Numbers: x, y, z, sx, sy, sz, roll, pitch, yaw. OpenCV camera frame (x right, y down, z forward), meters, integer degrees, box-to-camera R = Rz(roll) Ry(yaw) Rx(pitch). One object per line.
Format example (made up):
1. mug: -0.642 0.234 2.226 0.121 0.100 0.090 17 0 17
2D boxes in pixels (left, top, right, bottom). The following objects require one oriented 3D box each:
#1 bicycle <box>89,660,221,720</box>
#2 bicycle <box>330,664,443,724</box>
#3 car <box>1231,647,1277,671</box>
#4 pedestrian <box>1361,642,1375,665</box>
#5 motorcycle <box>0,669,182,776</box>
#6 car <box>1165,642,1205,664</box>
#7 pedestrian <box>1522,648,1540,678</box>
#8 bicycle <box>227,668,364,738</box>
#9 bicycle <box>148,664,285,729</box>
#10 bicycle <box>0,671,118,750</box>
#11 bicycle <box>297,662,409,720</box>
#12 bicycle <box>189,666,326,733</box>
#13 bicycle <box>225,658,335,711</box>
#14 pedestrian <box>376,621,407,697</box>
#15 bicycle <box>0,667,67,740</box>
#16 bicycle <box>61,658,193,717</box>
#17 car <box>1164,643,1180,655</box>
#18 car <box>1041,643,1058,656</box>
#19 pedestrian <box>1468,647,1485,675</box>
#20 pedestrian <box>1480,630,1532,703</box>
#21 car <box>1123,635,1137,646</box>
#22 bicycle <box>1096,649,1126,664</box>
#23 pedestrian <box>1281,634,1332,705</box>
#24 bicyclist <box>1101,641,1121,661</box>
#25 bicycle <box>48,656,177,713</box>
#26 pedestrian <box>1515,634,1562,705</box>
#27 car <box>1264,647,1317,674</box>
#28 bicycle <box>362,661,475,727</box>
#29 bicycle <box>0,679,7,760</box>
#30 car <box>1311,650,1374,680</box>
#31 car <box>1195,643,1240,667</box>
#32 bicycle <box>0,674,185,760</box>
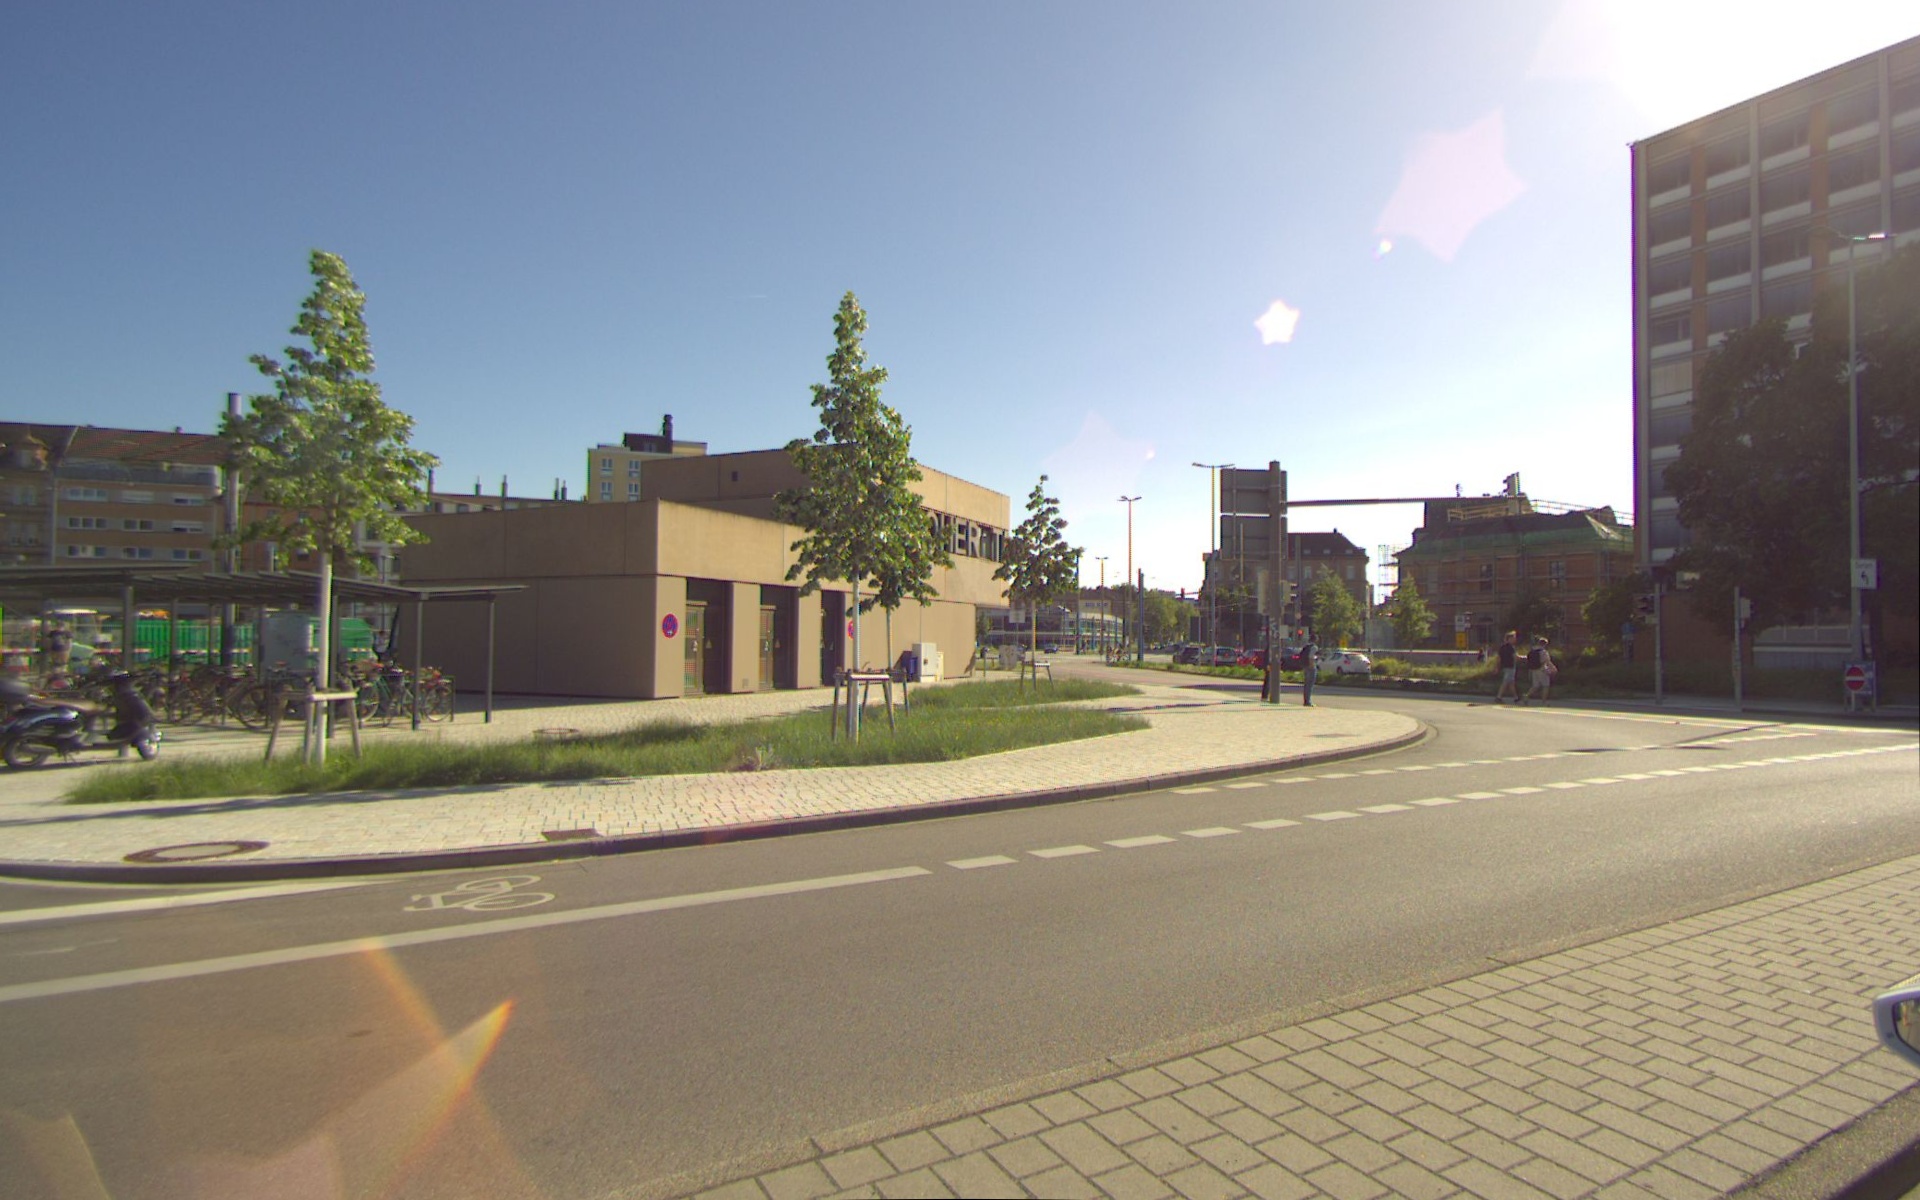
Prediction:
1. bicycle: -15.077 1.658 18.868 0.449 1.022 1.902 0 -2 26
2. bicycle: -10.703 1.736 18.823 0.449 1.022 1.902 0 -2 26
3. car: 20.214 4.031 69.253 1.760 1.528 3.880 1 -2 -6
4. pedestrian: 31.593 4.139 77.770 0.674 1.753 0.755 1 -2 -29
5. motorcycle: -10.916 1.477 12.474 0.508 1.166 1.947 0 -2 25
6. car: 16.785 3.928 75.001 1.760 1.528 3.880 1 -2 -6
7. pedestrian: 33.223 3.653 58.450 0.754 1.753 0.675 2 -2 -39
8. bicycle: -10.906 1.664 16.574 0.449 1.022 1.902 0 -2 26
9. bicycle: -12.895 1.650 17.493 0.449 1.022 1.902 0 -2 26
10. bicycle: -13.025 1.538 14.018 0.449 1.022 1.902 0 -2 26
11. bicycle: -11.793 1.745 19.580 0.449 1.022 1.902 0 -2 26
12. bicycle: -11.885 1.654 17.063 0.449 1.022 1.902 0 -2 26
13. bicycle: -14.069 1.730 20.832 0.449 1.022 1.902 0 -2 26
14. pedestrian: -15.602 1.611 27.579 0.710 2.040 0.682 1 -2 -30
15. bicycle: -14.155 1.510 14.450 0.449 1.022 1.902 0 -2 26
16. bicycle: -15.913 1.646 19.243 0.449 1.022 1.902 0 -2 26
17. car: 37.205 8.513 176.244 1.760 2.040 3.993 0 -2 29
18. car: 12.844 7.082 143.880 1.709 1.672 4.002 0 -2 17
19. pedestrian: 33.336 3.946 64.836 0.752 1.753 0.677 2 -2 -32
20. pedestrian: 14.410 1.743 26.512 0.895 1.887 0.813 1 -2 -16
21. car: 34.214 8.212 202.008 1.961 2.040 3.998 2 0 23
22. bicycle: 12.759 4.771 84.953 2.370 1.076 0.811 2 0 5
23. pedestrian: 8.710 1.741 25.282 1.044 1.753 0.652 1 -2 -16
24. bicyclist: 12.752 4.301 84.983 1.544 1.655 0.811 2 0 5
25. bicycle: -16.696 1.641 19.842 0.449 1.022 1.902 0 -2 26
26. pedestrian: 14.635 1.753 25.419 0.748 1.753 0.680 1 -2 -16
27. car: 20.589 3.765 62.741 1.760 1.528 3.880 1 -2 -6
28. bicycle: -9.923 1.698 18.494 0.449 1.112 1.902 0 -2 26
29. bicycle: -12.741 1.486 12.007 0.449 1.022 1.902 0 -2 26
30. car: 21.257 3.593 55.937 1.760 1.528 3.880 1 -2 -6
31. car: 17.466 3.693 68.274 1.760 1.528 3.880 1 -2 -6
32. bicycle: -11.811 1.558 13.727 0.449 1.022 1.902 0 -2 26
